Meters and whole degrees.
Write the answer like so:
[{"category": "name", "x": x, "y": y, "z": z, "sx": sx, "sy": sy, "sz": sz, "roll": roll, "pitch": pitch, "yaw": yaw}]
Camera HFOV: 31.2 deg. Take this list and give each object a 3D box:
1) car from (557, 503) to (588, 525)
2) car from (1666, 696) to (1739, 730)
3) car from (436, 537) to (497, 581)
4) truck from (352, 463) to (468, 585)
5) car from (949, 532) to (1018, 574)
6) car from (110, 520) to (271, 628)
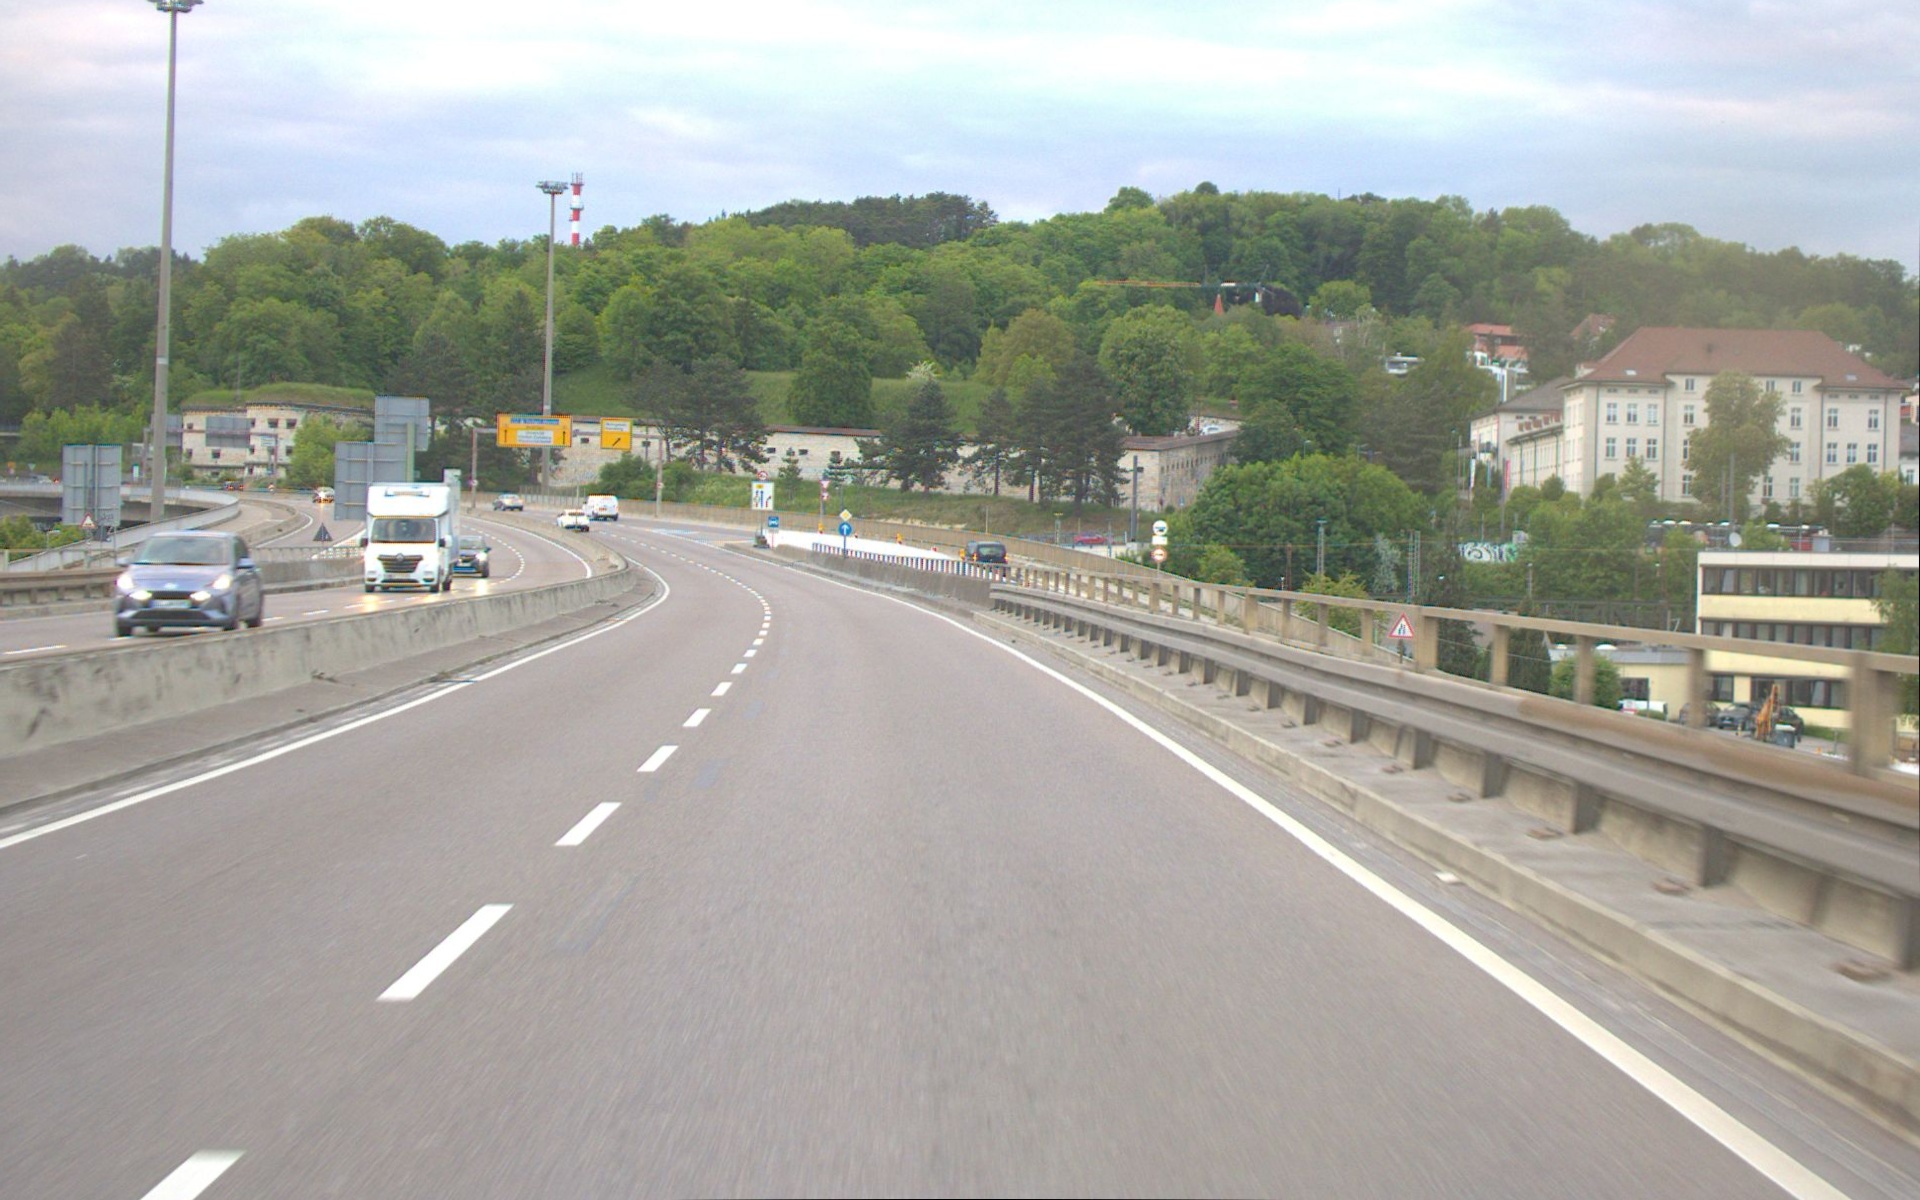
[{"category": "car", "x": -26.031, "y": -5.787, "z": 230.683, "sx": 1.630, "sy": 1.383, "sz": 4.002, "roll": 0, "pitch": 3, "yaw": -13}, {"category": "car", "x": 42.927, "y": 6.536, "z": 198.677, "sx": 3.987, "sy": 1.560, "sz": 1.832, "roll": 5, "pitch": 3, "yaw": -37}, {"category": "car", "x": -18.666, "y": -1.557, "z": 130.154, "sx": 1.976, "sy": 1.600, "sz": 4.442, "roll": 1, "pitch": 1, "yaw": -4}, {"category": "truck", "x": -15.422, "y": -2.112, "z": 96.841, "sx": 2.534, "sy": 3.285, "sz": 7.448, "roll": 1, "pitch": 1, "yaw": -4}, {"category": "car", "x": 1.101, "y": -2.205, "z": 161.616, "sx": 2.304, "sy": 1.757, "sz": 4.264, "roll": 2, "pitch": 2, "yaw": -12}, {"category": "car", "x": -10.972, "y": -0.400, "z": 49.207, "sx": 1.628, "sy": 1.436, "sz": 3.837, "roll": 1, "pitch": 2, "yaw": -3}]
